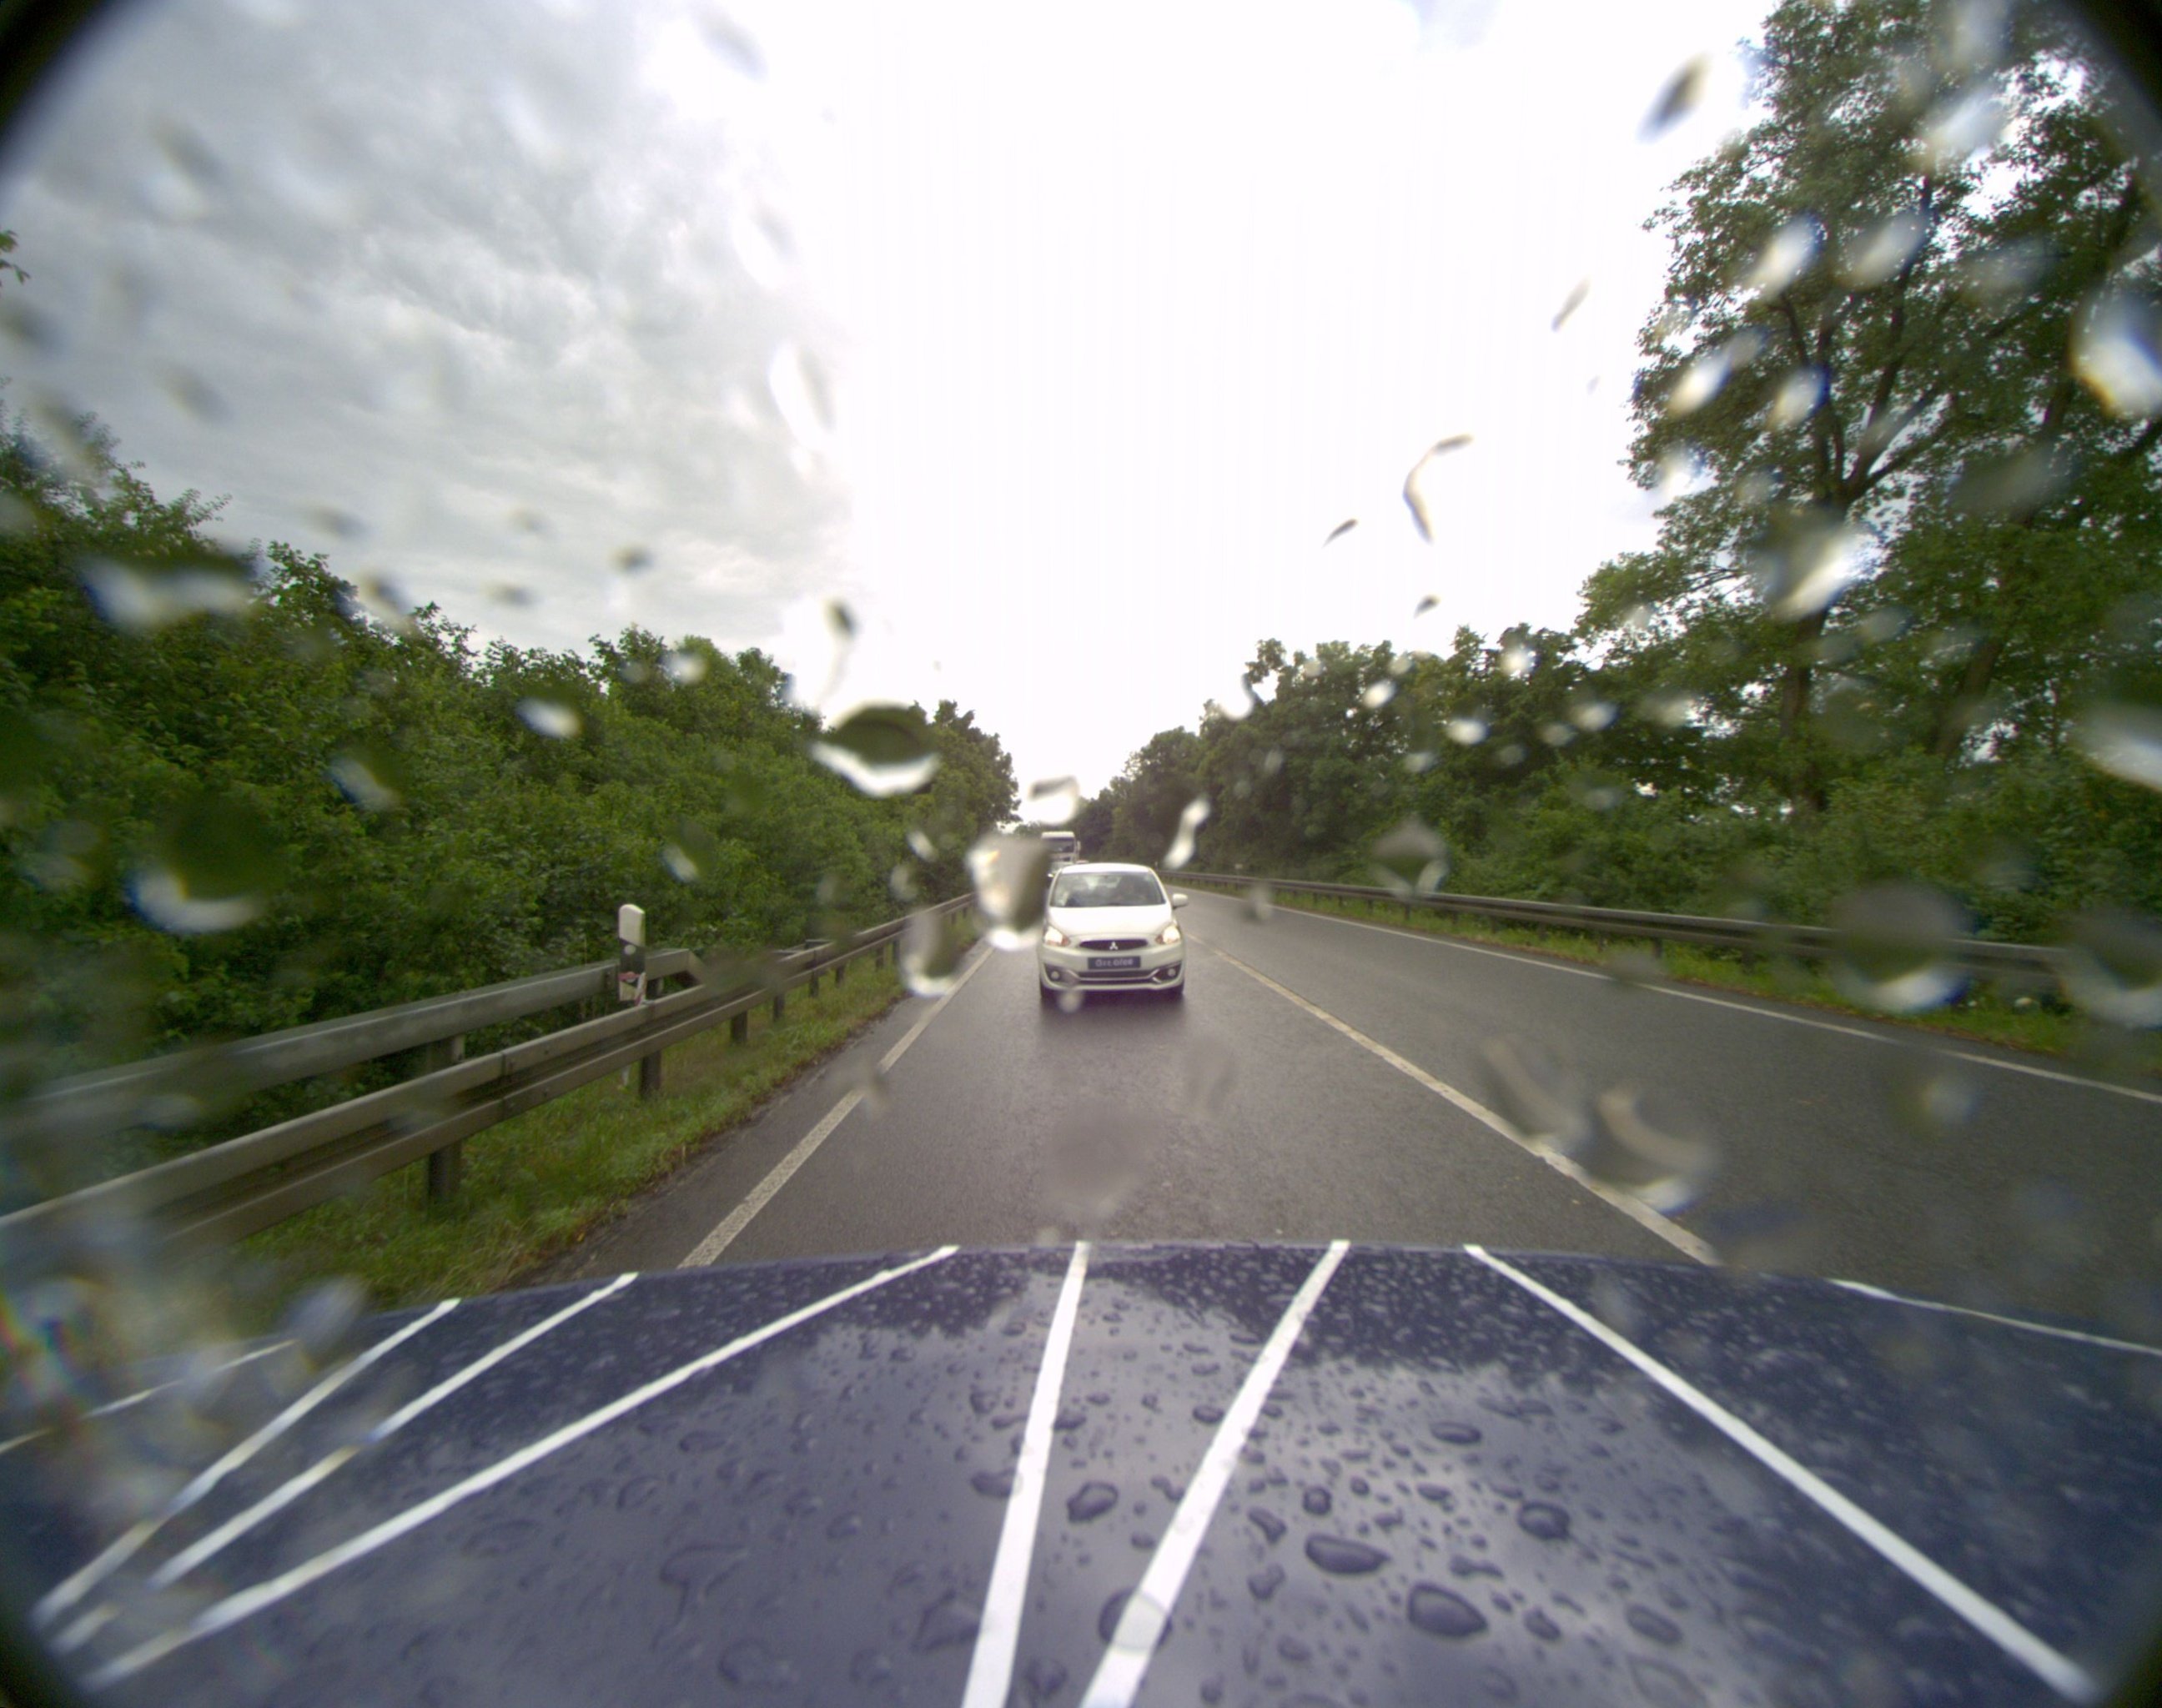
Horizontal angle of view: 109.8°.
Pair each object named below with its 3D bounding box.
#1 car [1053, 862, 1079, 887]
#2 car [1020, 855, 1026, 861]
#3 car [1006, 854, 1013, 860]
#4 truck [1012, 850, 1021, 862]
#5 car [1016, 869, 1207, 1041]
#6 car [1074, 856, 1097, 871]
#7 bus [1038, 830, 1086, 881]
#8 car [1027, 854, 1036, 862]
[{"bbox_3d":[-0.911,1.174,44.667,1.476,1.409,3.428,-1,-1,-2],"label":"car"},{"bbox_3d":[-12.370,0.892,161.578,1.145,1.123,2.550,-2,0,-10],"label":"car"},{"bbox_3d":[-17.945,0.767,189.880,1.535,1.459,3.072,-2,0,-10],"label":"car"},{"bbox_3d":[-15.204,0.439,179.276,1.481,2.860,5.680,-2,0,-11],"label":"truck"},{"bbox_3d":[0.304,0.960,8.954,1.701,1.471,4.063,-1,0,1],"label":"car"},{"bbox_3d":[0.424,0.919,76.915,1.820,1.445,4.045,-1,0,-7],"label":"car"},{"bbox_3d":[-1.699,0.162,58.605,3.064,3.405,13.635,-1,0,-4],"label":"bus"},{"bbox_3d":[-9.726,0.794,148.533,1.421,1.611,3.476,-2,0,-10],"label":"car"}]
